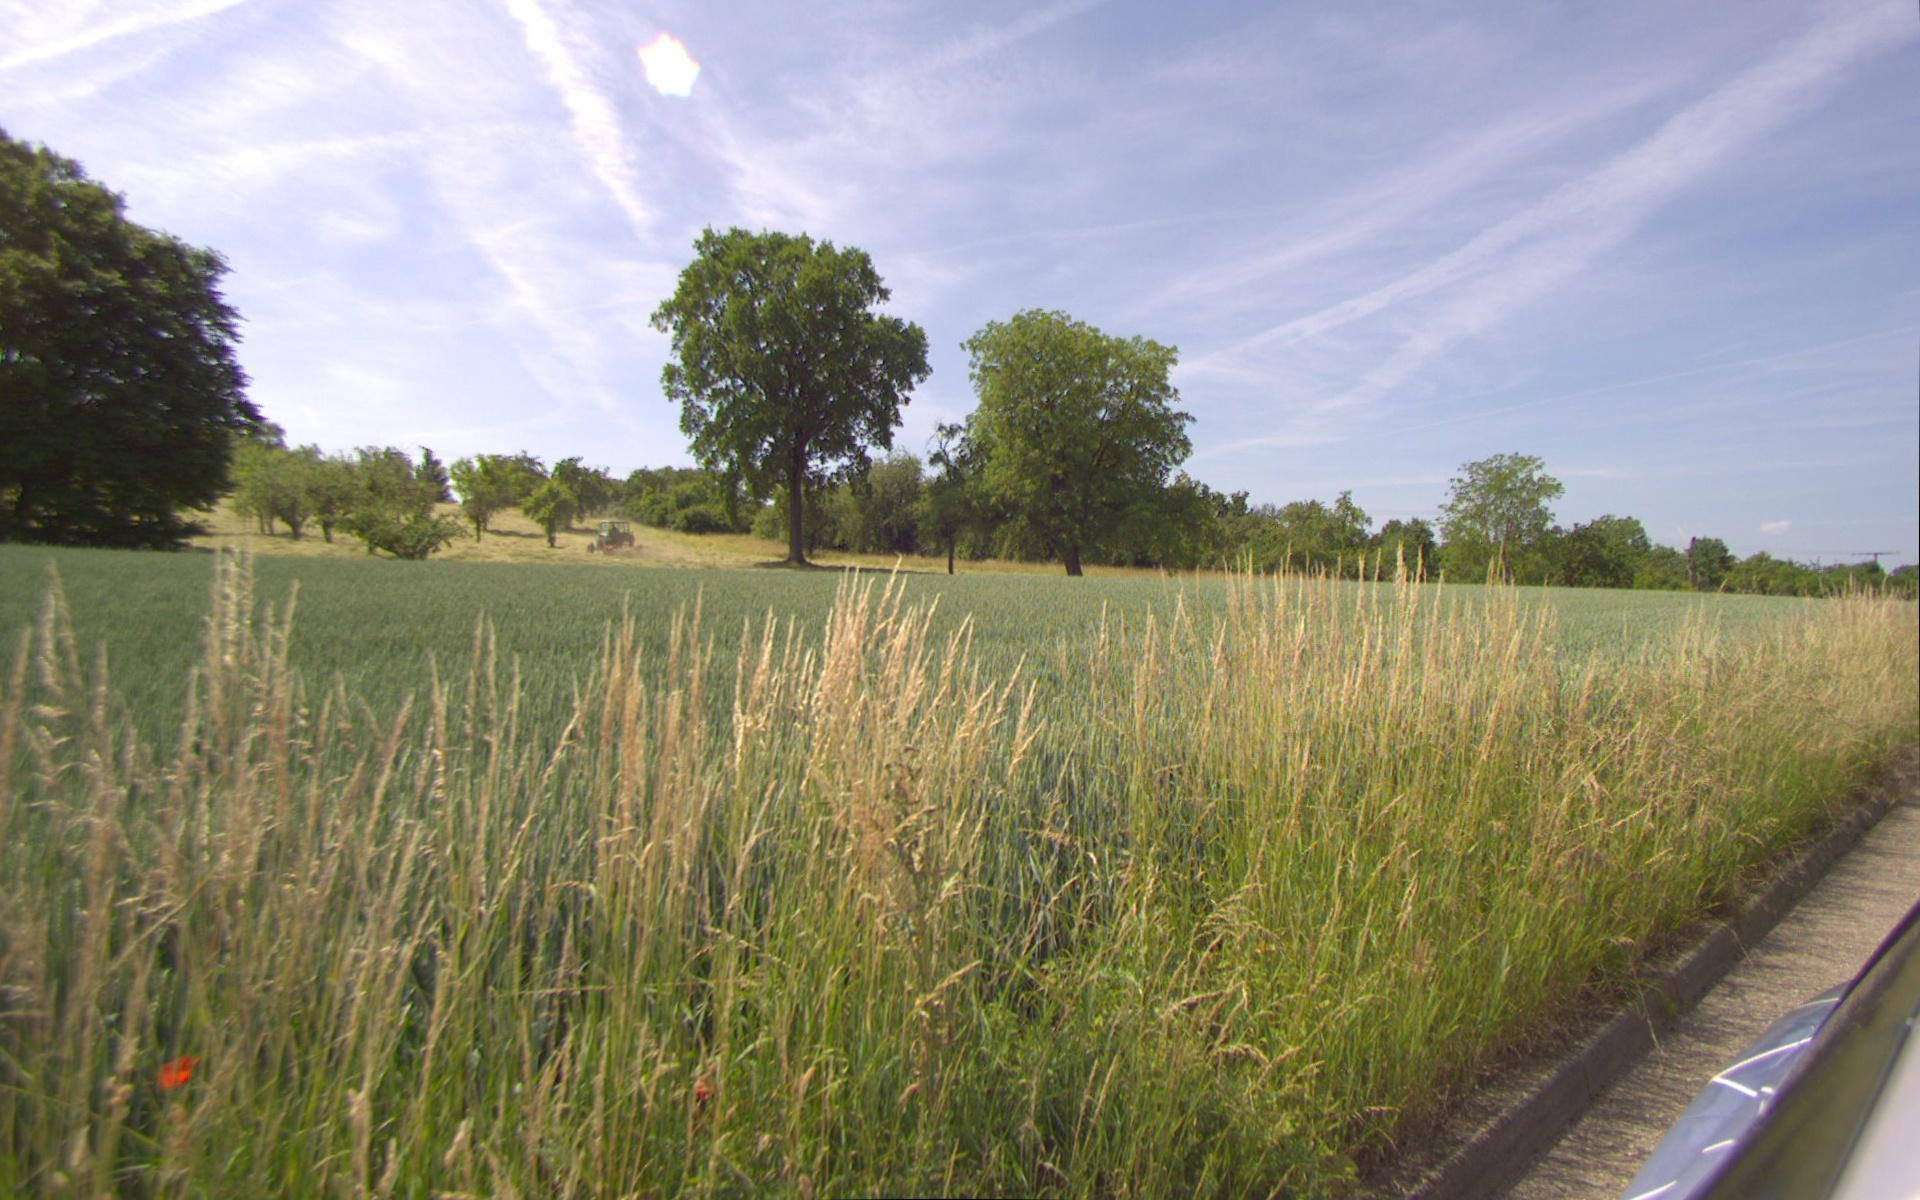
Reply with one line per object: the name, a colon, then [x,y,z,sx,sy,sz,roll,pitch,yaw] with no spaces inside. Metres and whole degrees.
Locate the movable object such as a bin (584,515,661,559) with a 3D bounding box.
movable object such as a bin: [-20.530,-3.880,61.386,2.401,2.398,6.577,0,5,-38]
